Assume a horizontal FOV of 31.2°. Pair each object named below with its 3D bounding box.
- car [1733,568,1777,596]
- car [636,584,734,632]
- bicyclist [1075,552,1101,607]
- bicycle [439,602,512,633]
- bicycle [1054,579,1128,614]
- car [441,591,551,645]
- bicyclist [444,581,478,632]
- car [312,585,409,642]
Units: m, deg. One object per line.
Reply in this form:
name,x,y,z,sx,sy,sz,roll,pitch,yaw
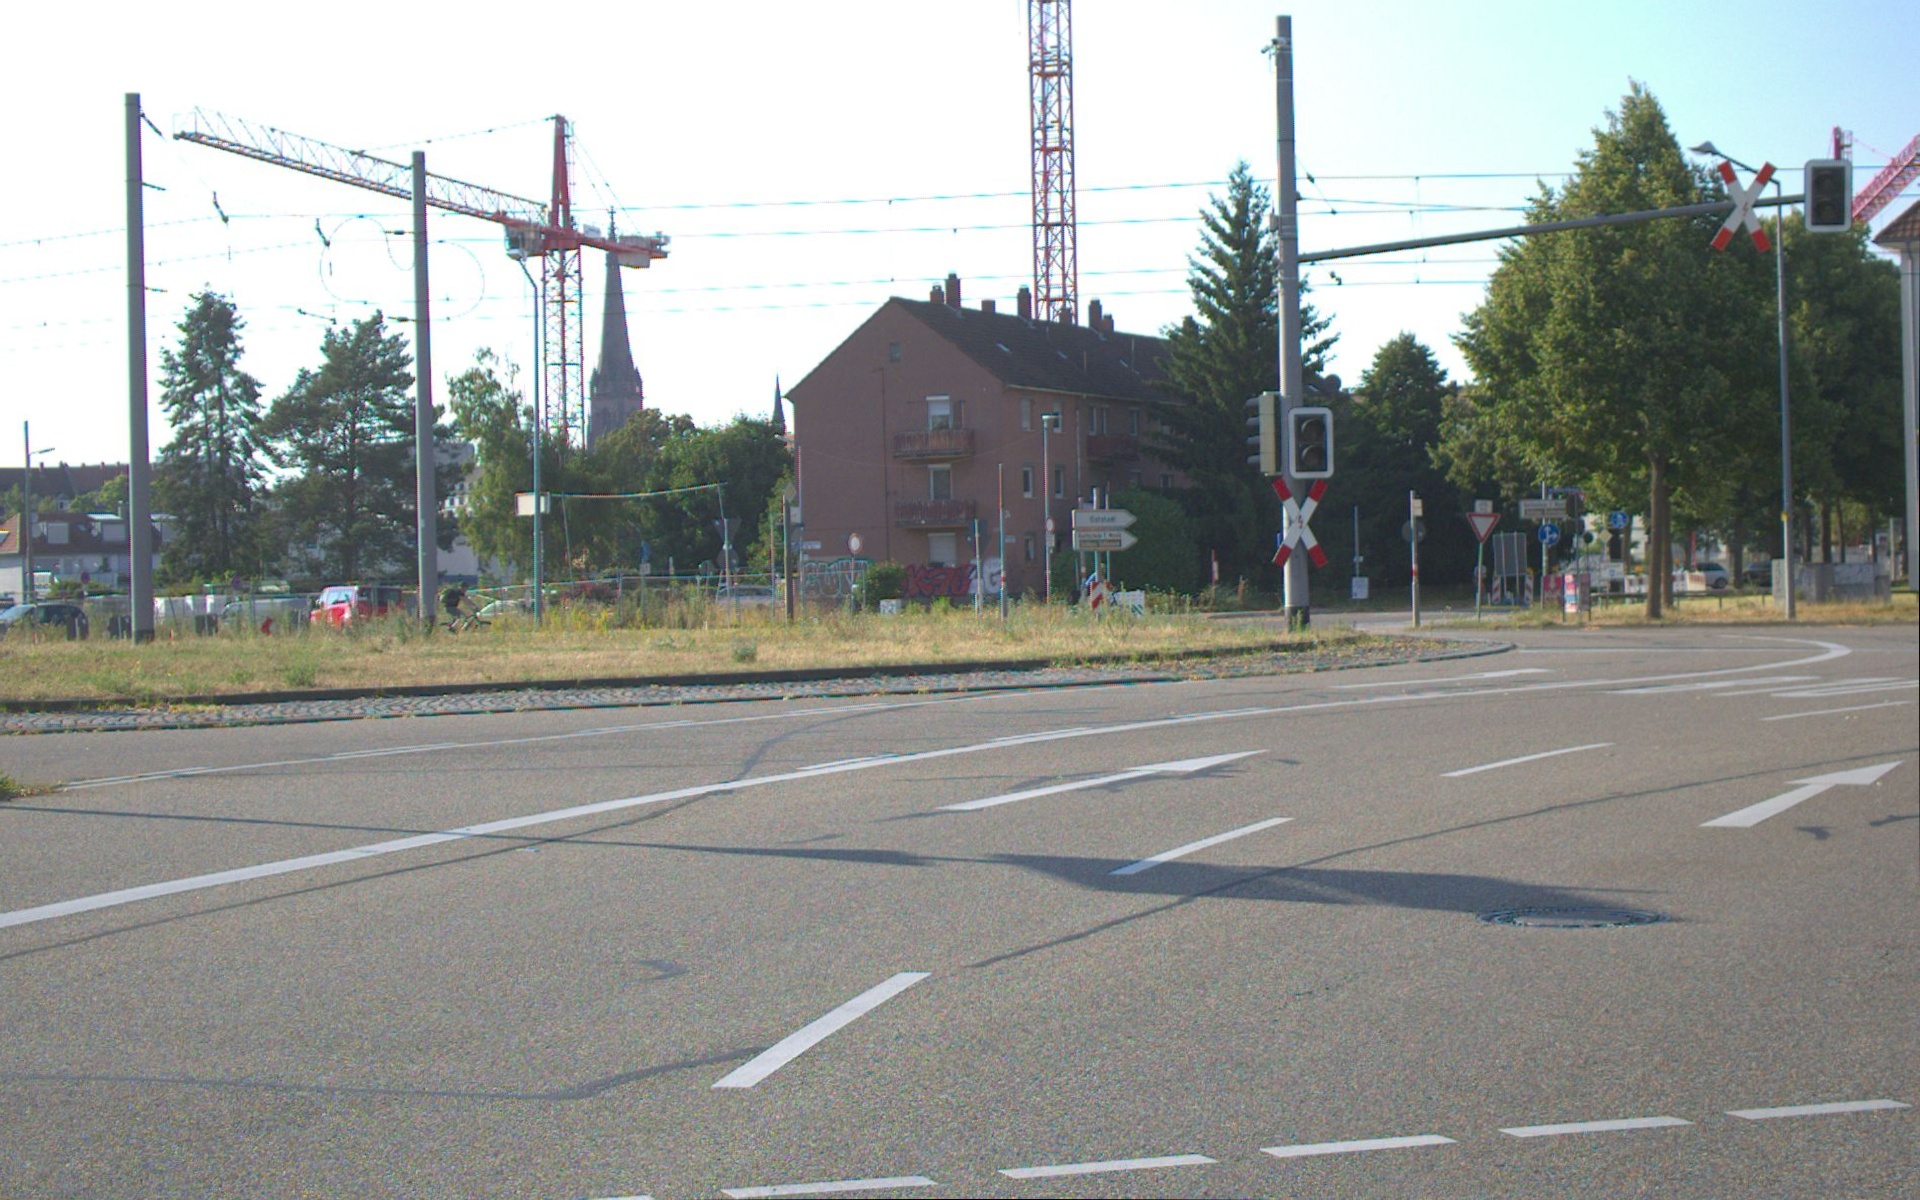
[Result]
car,38.926,-0.908,168.339,1.457,1.295,3.544,-1,1,24
car,-11.823,0.333,147.951,3.812,2.007,1.670,-1,0,18
bicyclist,3.527,-0.573,94.935,0.622,1.506,0.419,-1,1,-6
bicycle,-13.568,0.494,96.313,1.987,0.822,0.430,-1,1,-6
bicycle,3.620,-0.107,94.940,1.987,0.915,0.430,-1,1,-6
car,-17.794,0.684,131.964,3.812,2.007,1.670,-1,0,18
bicyclist,-13.984,0.176,96.338,0.897,1.391,0.526,-1,1,-6
car,-20.234,0.450,115.881,1.919,1.848,4.000,-2,1,-30
